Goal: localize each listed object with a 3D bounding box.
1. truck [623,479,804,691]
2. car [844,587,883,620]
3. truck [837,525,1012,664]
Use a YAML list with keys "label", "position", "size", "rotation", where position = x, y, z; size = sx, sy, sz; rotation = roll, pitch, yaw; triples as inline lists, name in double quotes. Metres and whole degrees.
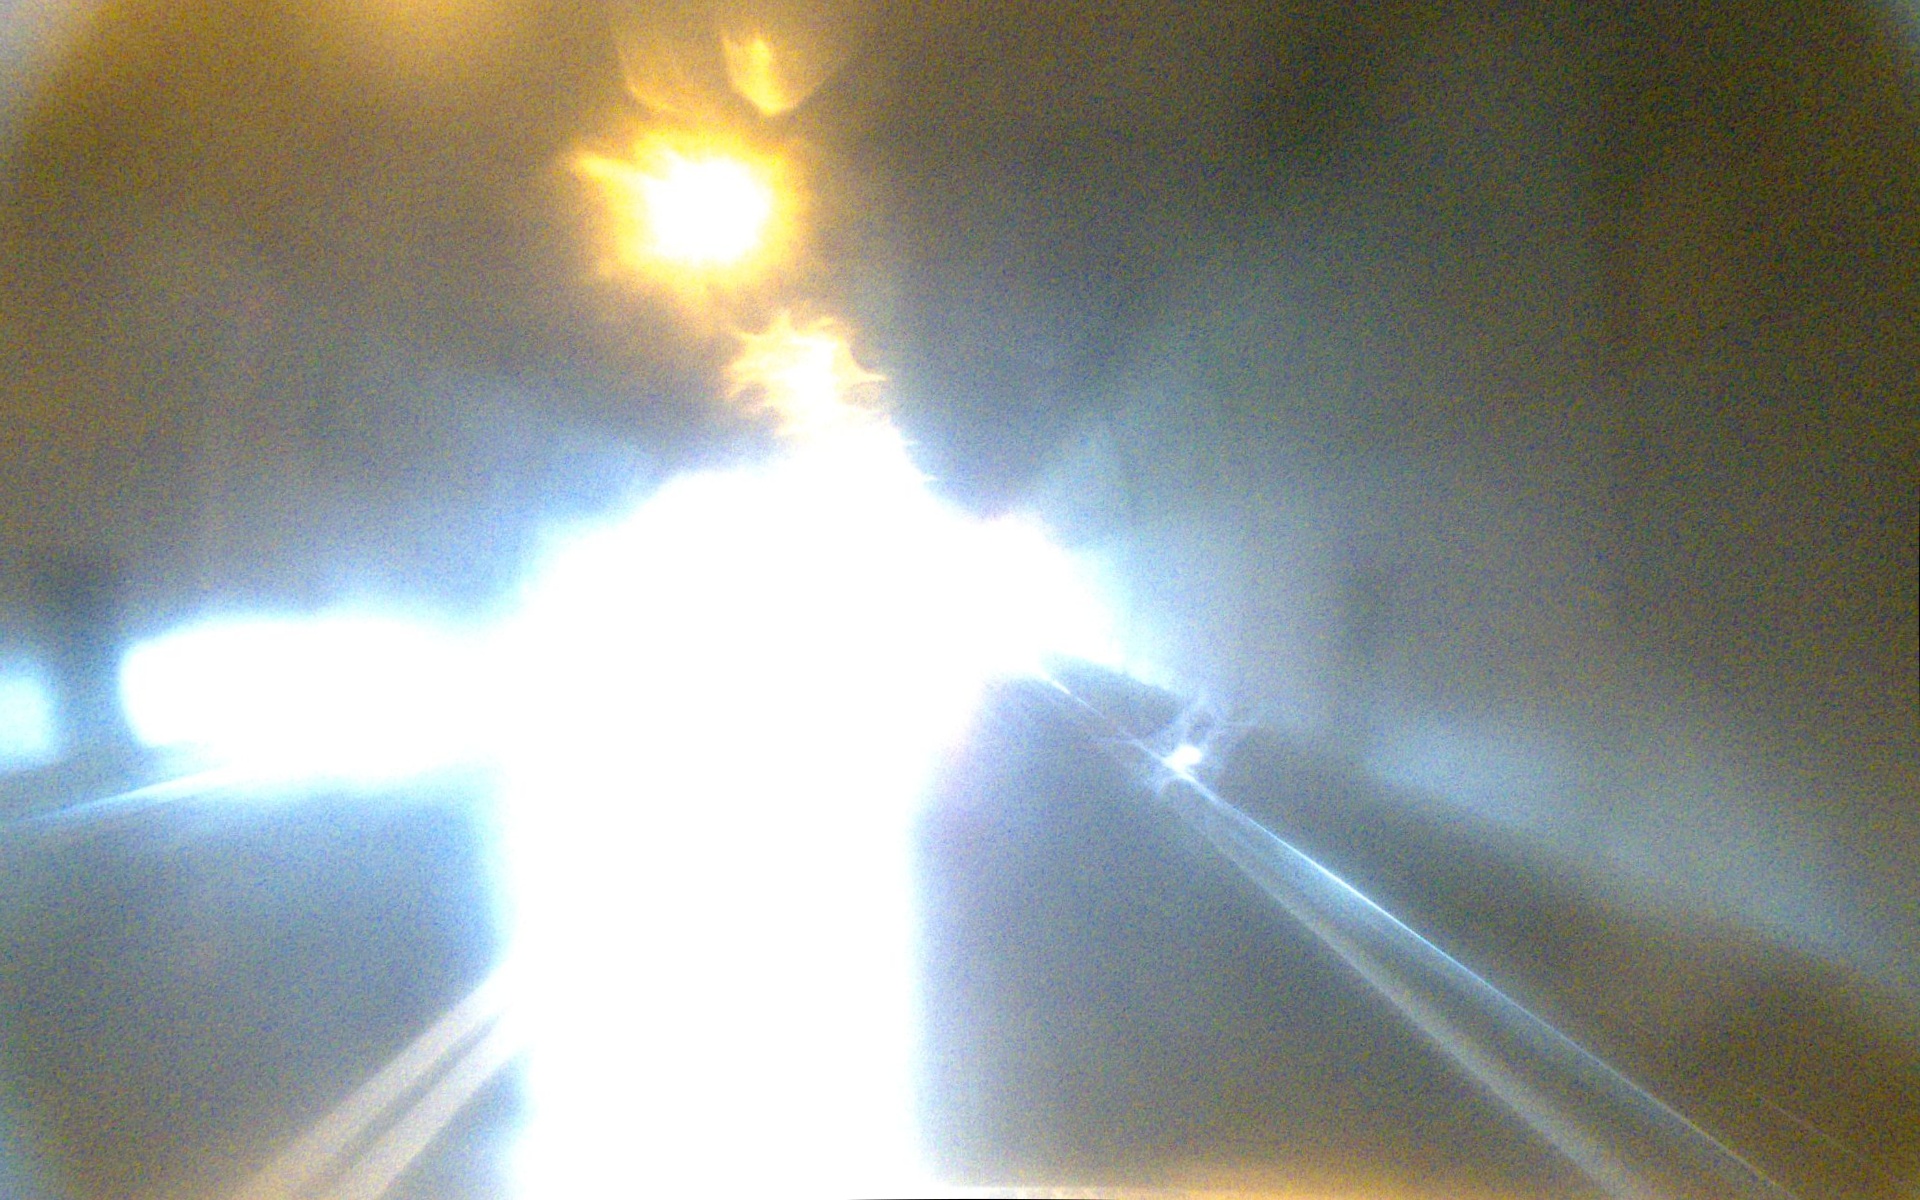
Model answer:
- label: "truck"
  position: [-3.894, -0.232, 27.397]
  size: [2.234, 3.069, 6.591]
  rotation: [1, 0, -2]
- label: "car"
  position: [-4.558, 0.159, 78.228]
  size: [1.758, 1.508, 3.867]
  rotation: [0, 0, -2]
- label: "truck"
  position: [-0.771, -0.128, 37.363]
  size: [3.463, 2.740, 8.954]
  rotation: [0, 0, -1]
